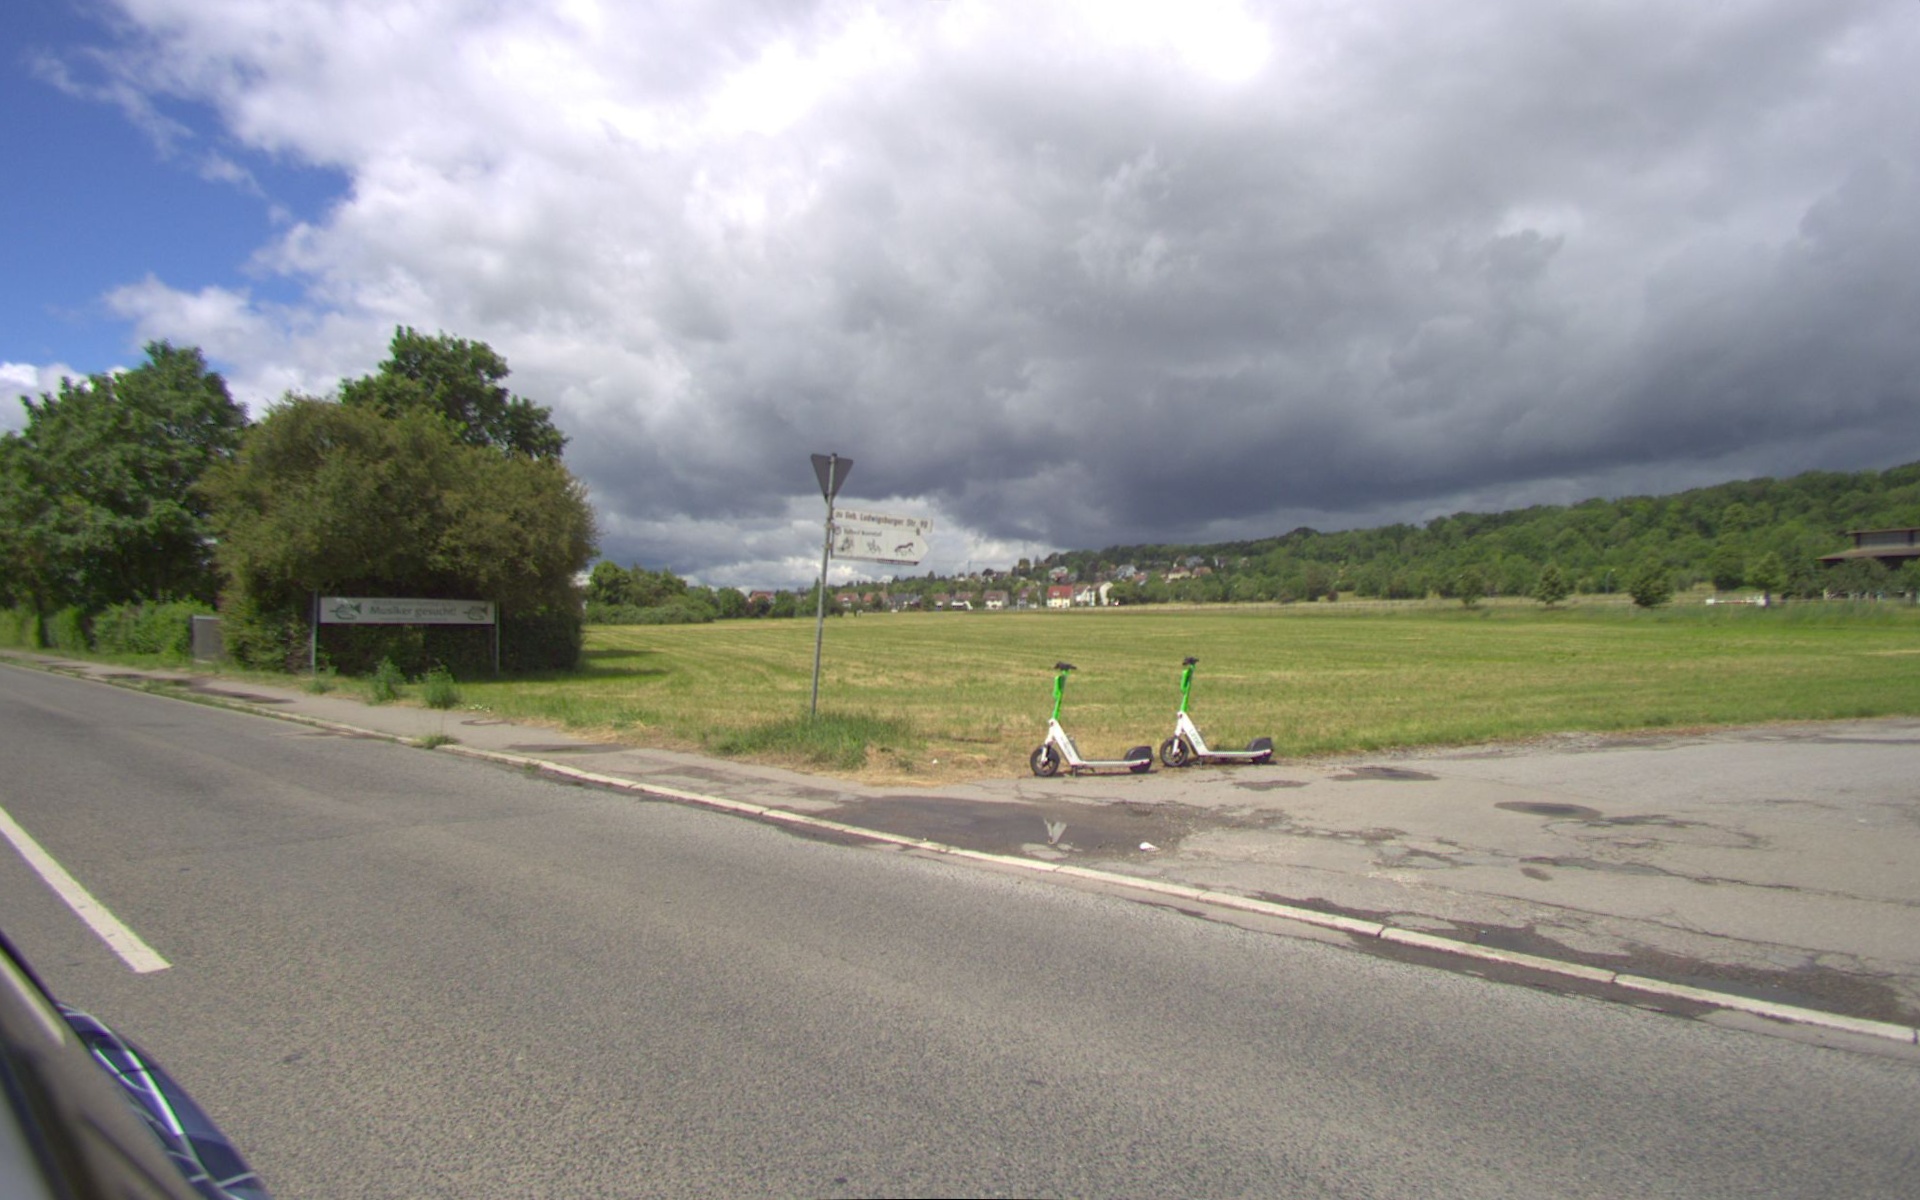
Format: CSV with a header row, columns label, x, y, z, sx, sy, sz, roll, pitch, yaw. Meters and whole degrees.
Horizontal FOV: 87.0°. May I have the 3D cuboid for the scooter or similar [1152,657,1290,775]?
label,x,y,z,sx,sy,sz,roll,pitch,yaw
scooter or similar,2.761,1.212,10.732,1.329,1.177,0.407,-1,-1,-8

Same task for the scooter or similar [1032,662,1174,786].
label,x,y,z,sx,sy,sz,roll,pitch,yaw
scooter or similar,1.424,1.230,10.181,1.331,1.177,0.407,-1,-1,-2
